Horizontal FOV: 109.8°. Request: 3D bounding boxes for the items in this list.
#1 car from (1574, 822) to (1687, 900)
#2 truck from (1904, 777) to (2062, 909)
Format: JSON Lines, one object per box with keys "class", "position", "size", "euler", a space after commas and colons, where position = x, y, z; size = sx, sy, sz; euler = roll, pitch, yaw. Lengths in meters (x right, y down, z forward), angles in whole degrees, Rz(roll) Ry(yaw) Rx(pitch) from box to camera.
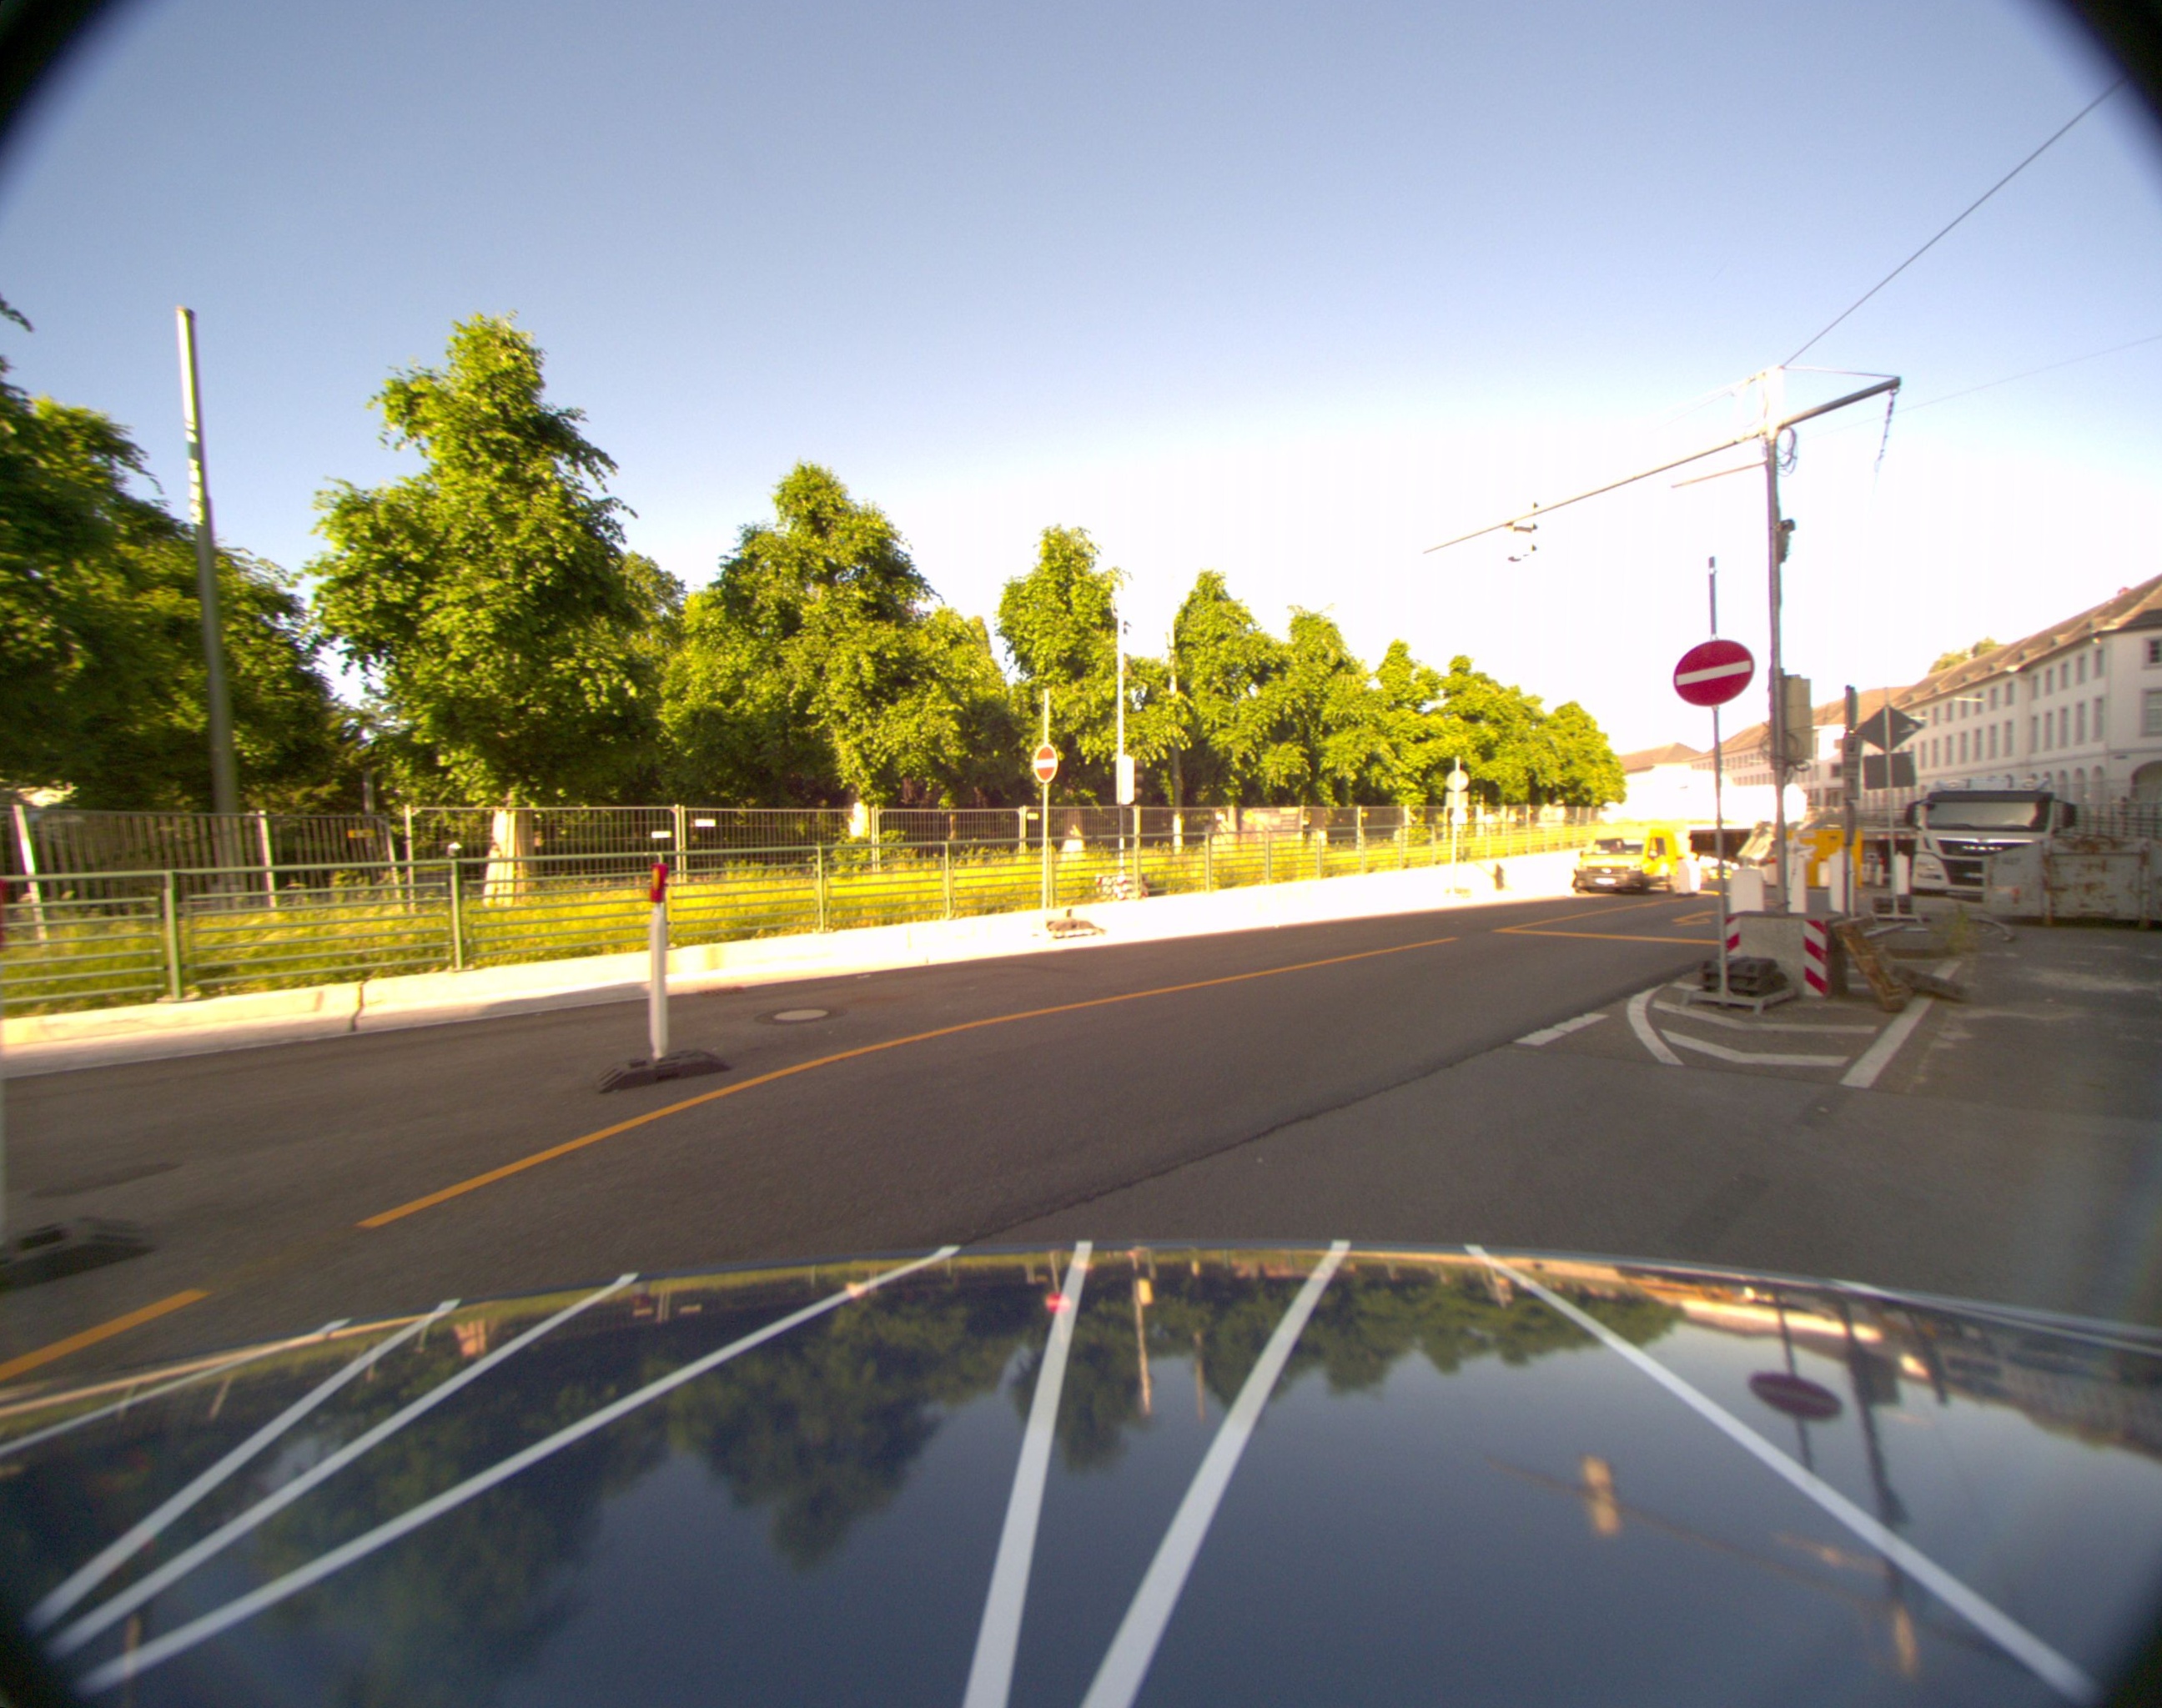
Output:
{"class": "car", "position": [20.828, 0.230, 28.637], "size": [7.002, 2.609, 2.113], "euler": [0, 0, -43]}
{"class": "truck", "position": [26.979, -0.341, 22.930], "size": [5.828, 3.471, 2.579], "euler": [0, 4, -42]}
